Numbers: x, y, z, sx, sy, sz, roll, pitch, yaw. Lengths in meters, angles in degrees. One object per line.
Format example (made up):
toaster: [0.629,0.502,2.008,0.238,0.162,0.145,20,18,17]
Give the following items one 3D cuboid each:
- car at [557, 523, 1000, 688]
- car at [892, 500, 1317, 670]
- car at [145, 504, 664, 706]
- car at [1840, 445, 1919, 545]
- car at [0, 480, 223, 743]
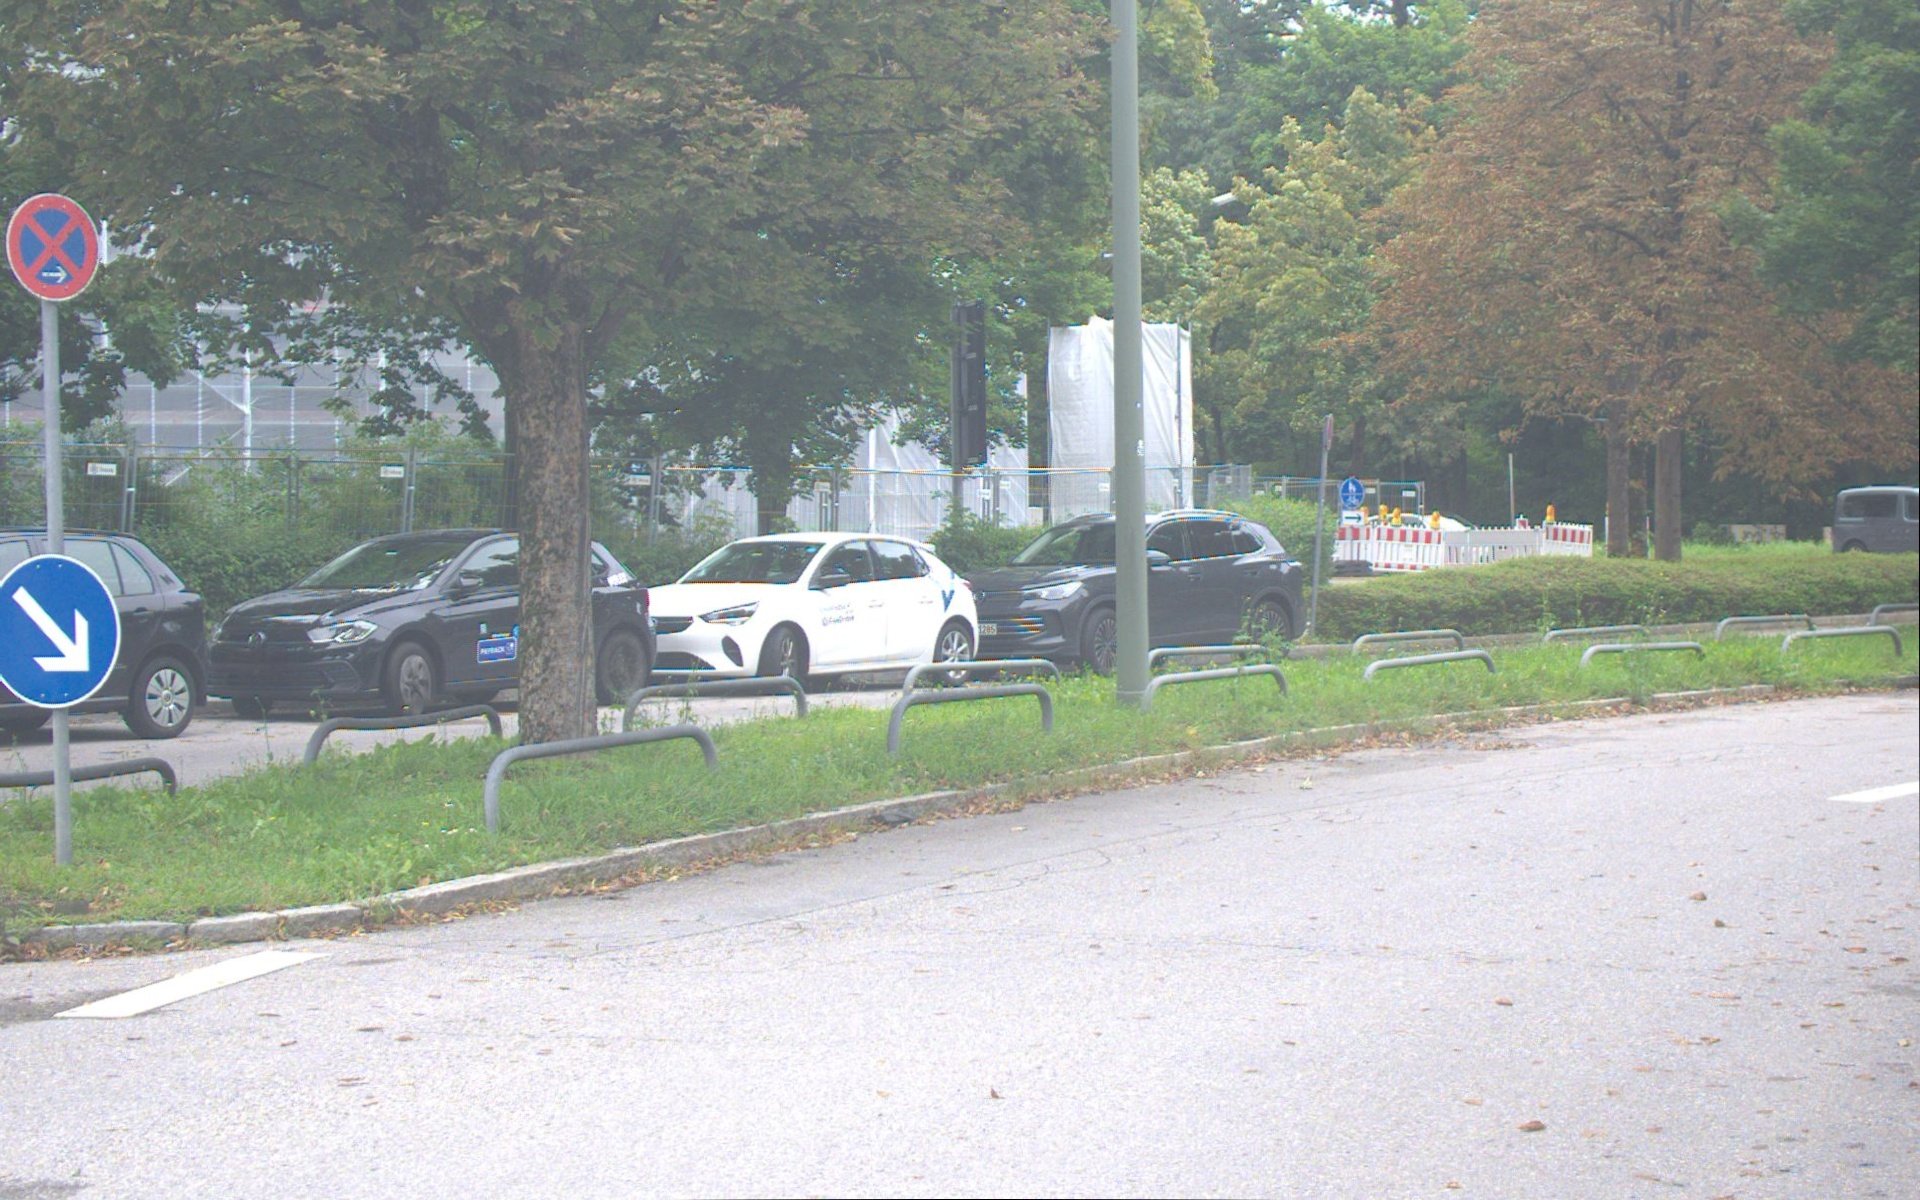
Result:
car: [-1.558,0.010,31.003,1.799,1.379,4.210,0,1,34]
car: [1.511,-0.128,34.533,1.890,1.600,4.385,0,0,42]
car: [-4.260,-0.001,26.941,1.837,1.456,3.999,0,1,32]
car: [20.145,-2.136,69.855,1.994,2.007,3.999,-1,2,-39]
car: [-7.047,0.076,22.824,1.997,1.700,3.993,0,1,32]
